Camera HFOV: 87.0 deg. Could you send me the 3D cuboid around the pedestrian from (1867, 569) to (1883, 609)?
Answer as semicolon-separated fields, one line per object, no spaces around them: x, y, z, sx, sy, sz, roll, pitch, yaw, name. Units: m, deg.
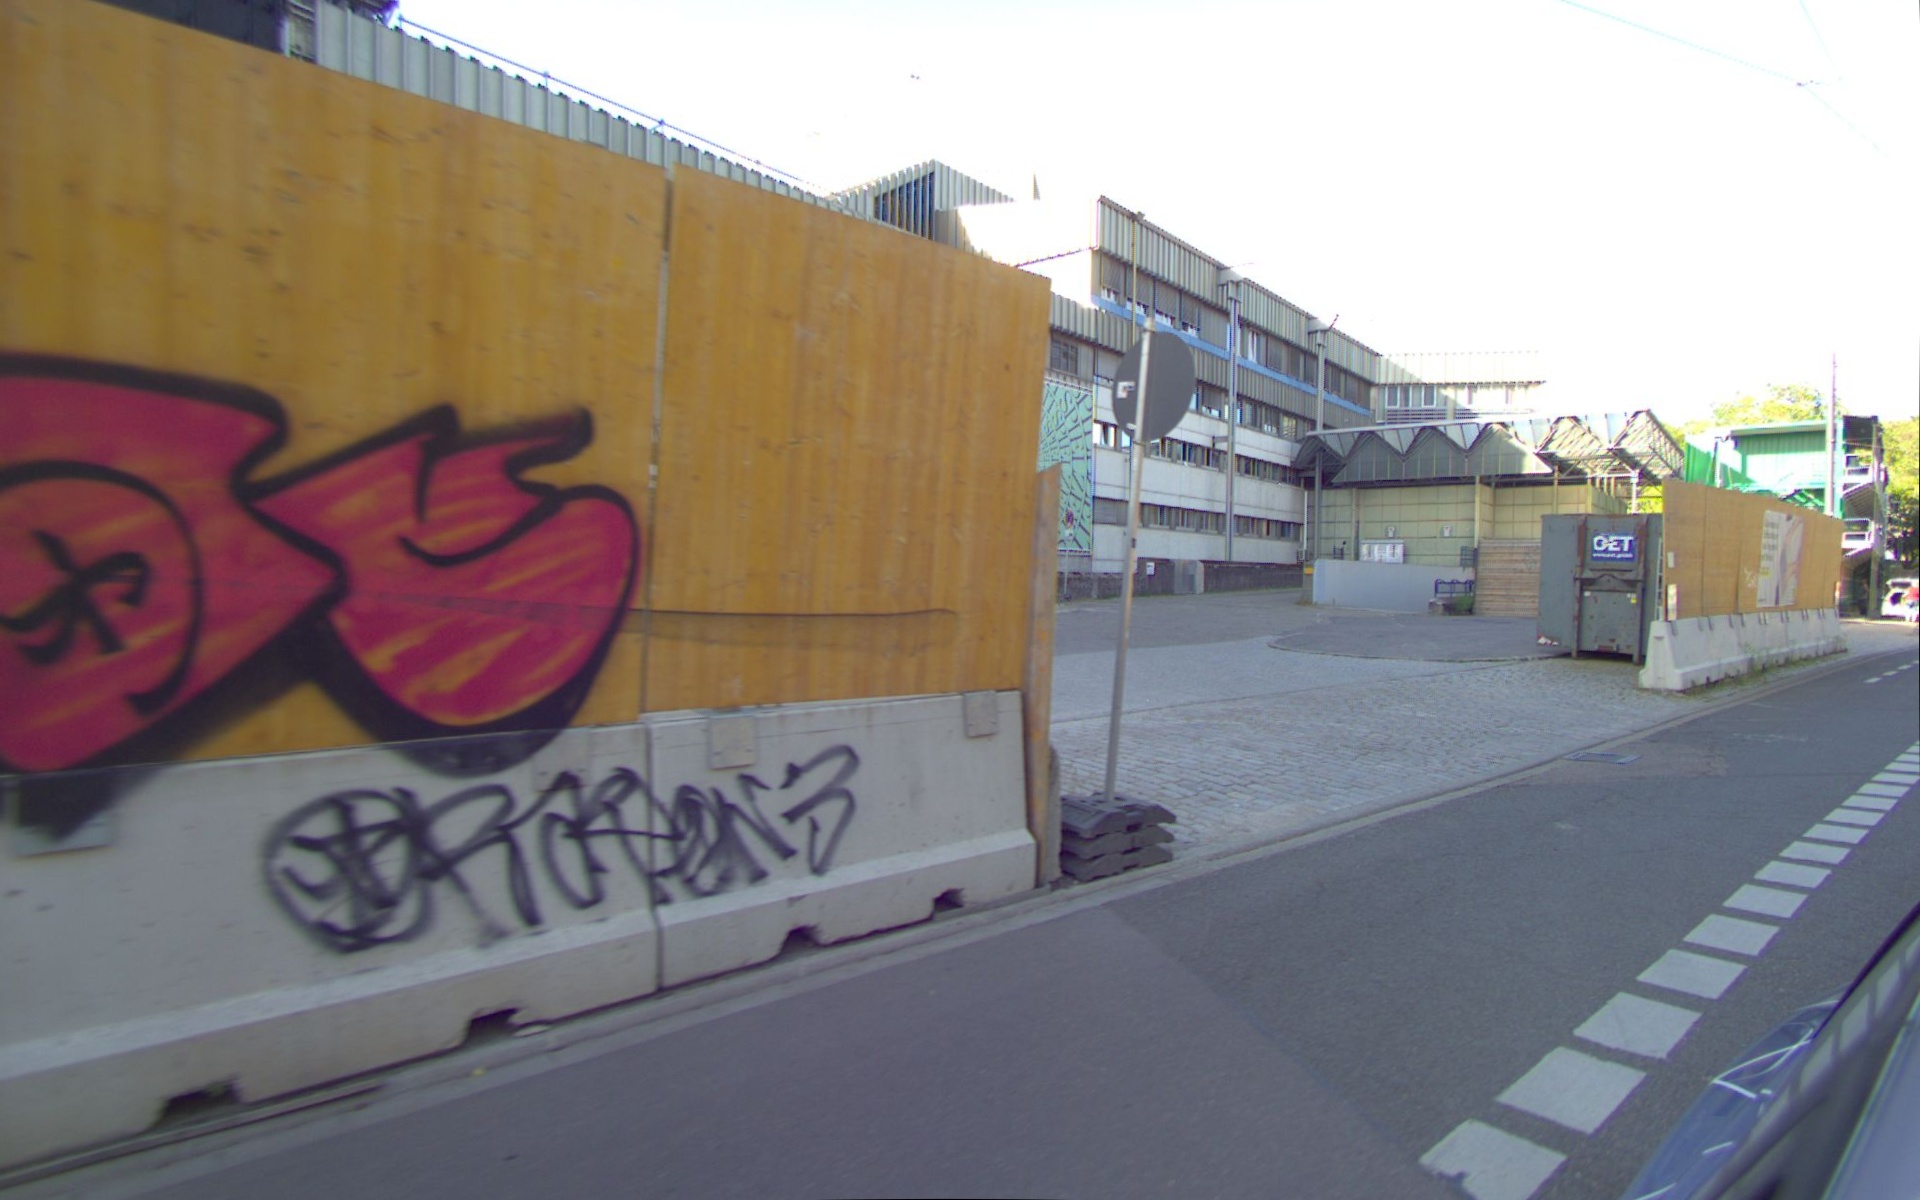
41.281;-0.499;45.644;0.445;1.780;0.373;1;1;30;pedestrian
